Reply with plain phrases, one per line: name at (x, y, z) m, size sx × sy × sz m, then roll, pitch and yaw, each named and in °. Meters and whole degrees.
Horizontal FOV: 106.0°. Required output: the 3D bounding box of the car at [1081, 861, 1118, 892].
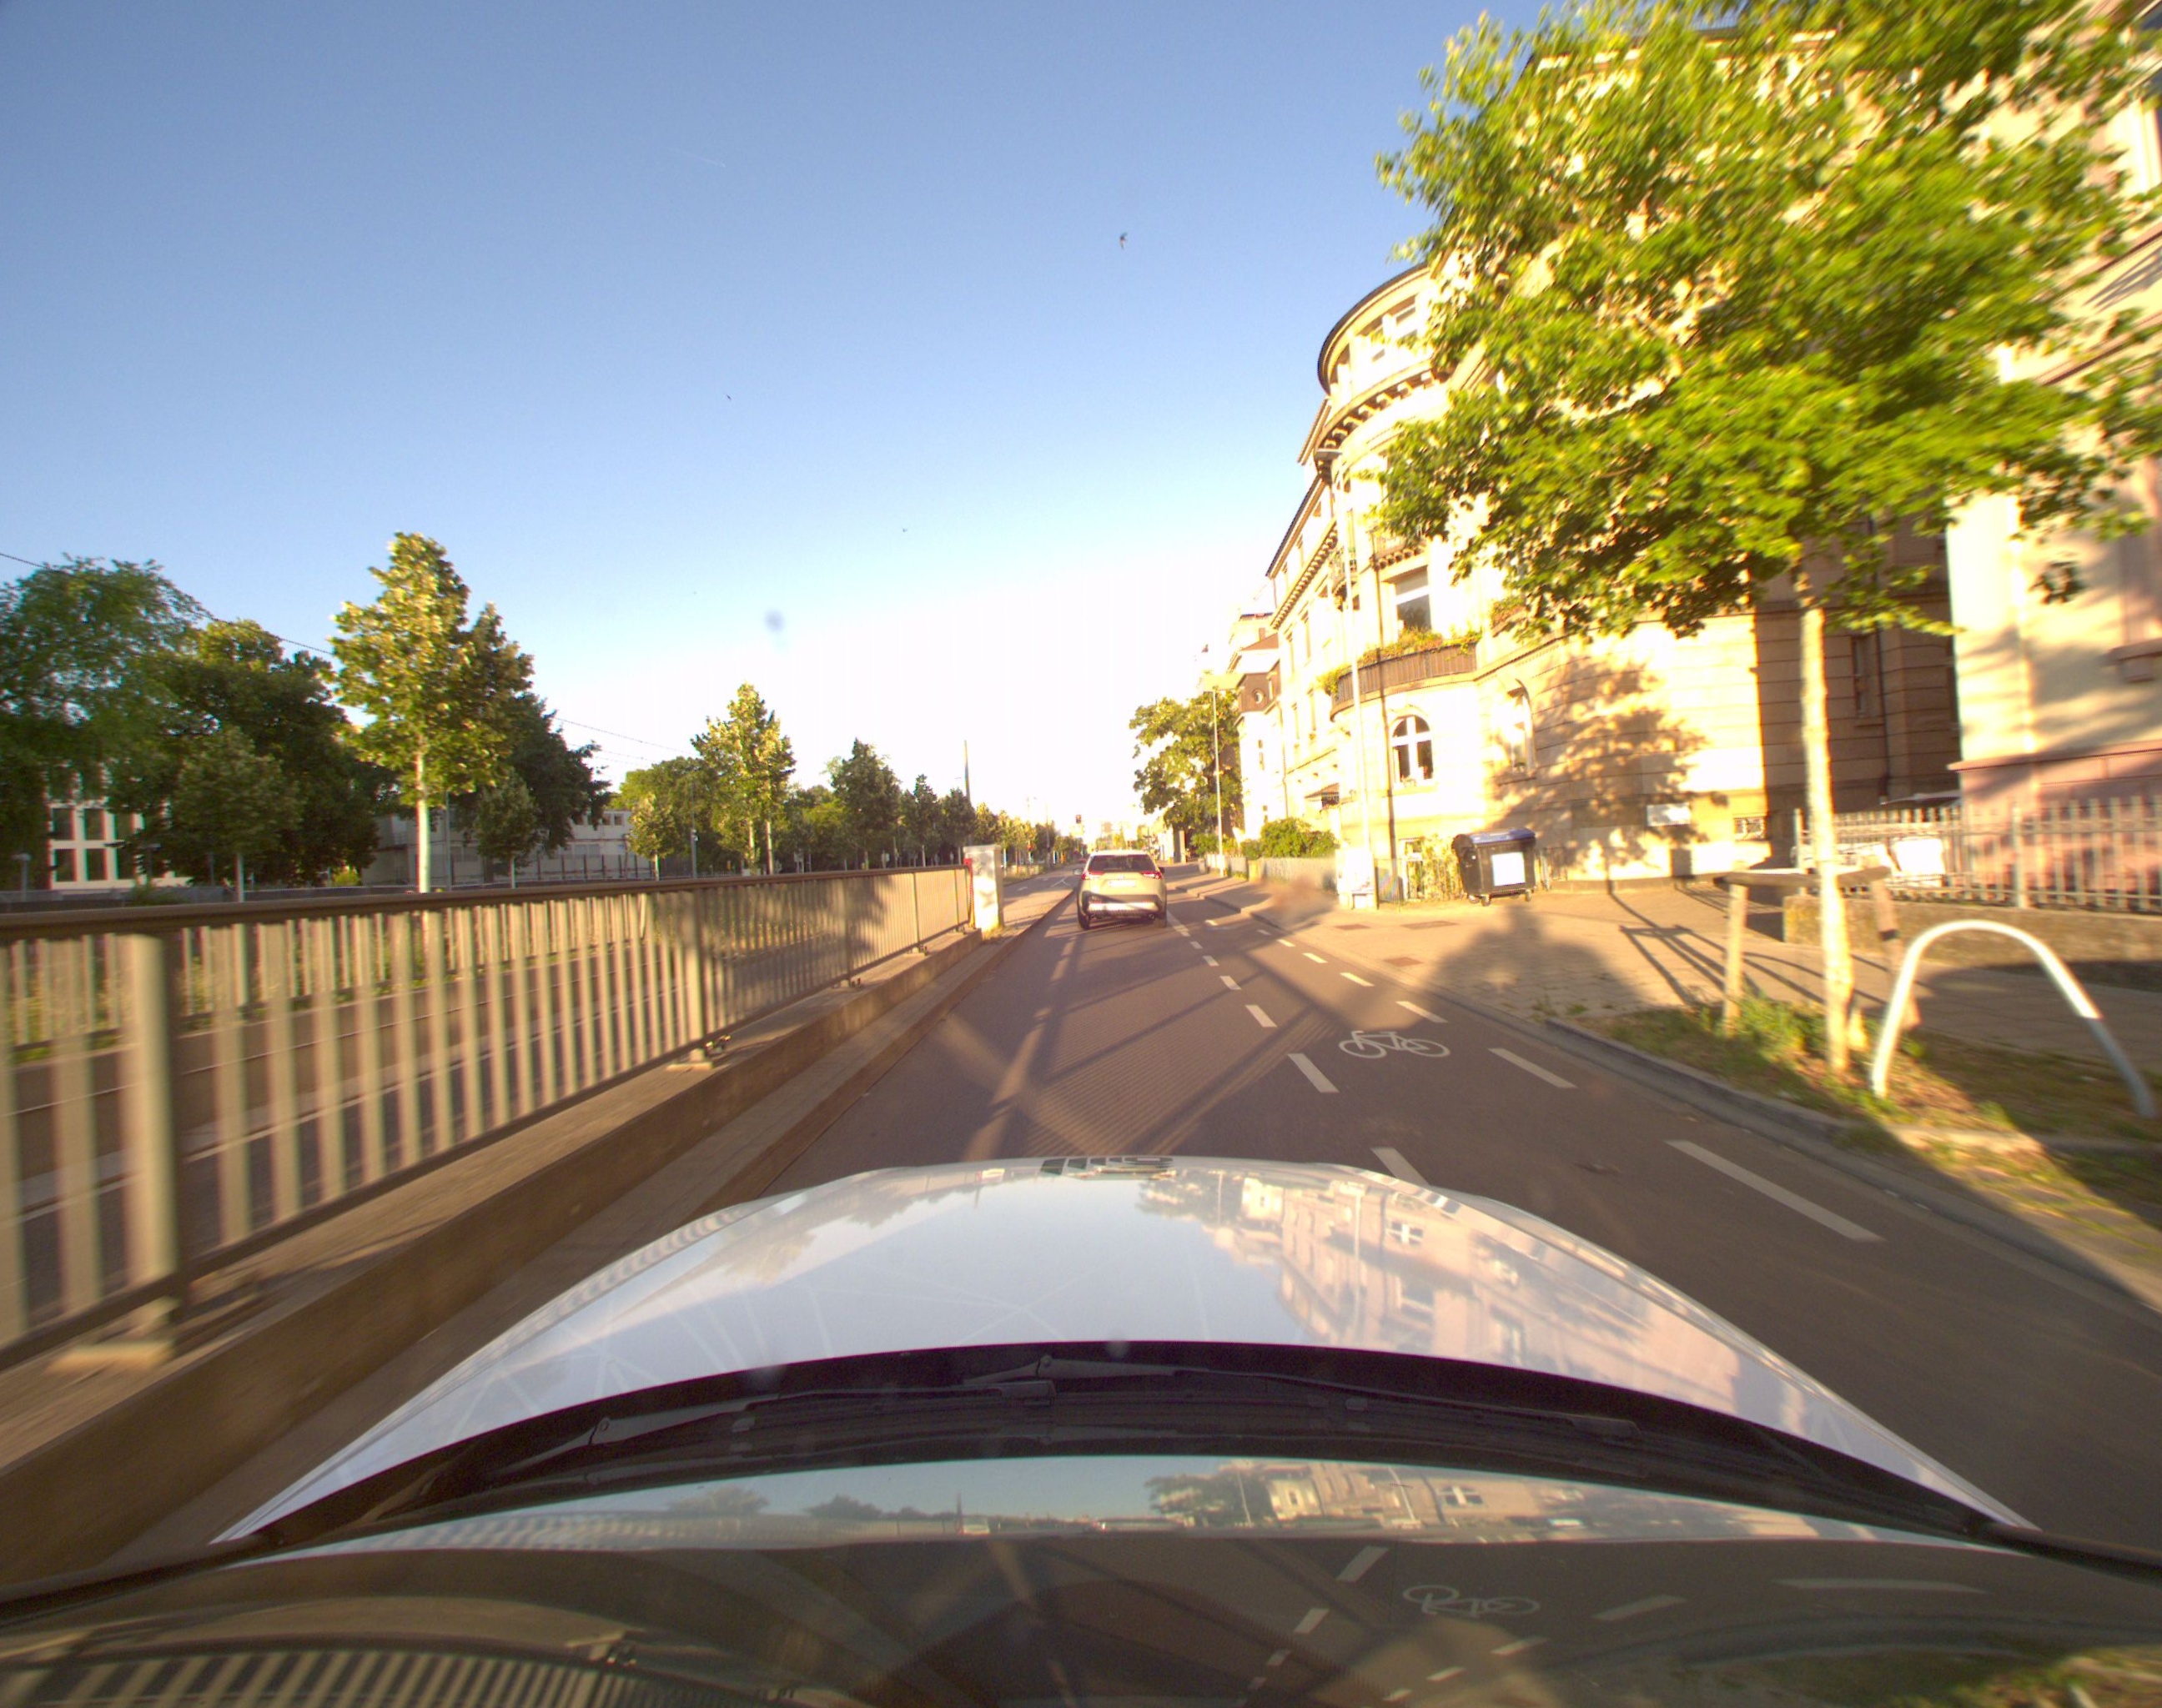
car at (0.969, 1.167, 44.260) m, size 1.851 × 1.551 × 4.109 m, roll -2°, pitch 0°, yaw 0°

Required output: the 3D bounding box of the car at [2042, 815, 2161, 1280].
car at (4.306, 0.540, 0.614) m, size 1.787 × 1.471 × 4.444 m, roll -6°, pitch 0°, yaw -1°

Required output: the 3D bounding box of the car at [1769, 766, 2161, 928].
car at (11.359, -0.132, 9.903) m, size 4.176 × 1.571 × 1.919 m, roll -5°, pitch 0°, yaw 4°

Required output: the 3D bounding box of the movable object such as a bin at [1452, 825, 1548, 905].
movable object such as a bin at (8.255, 0.214, 16.117) m, size 1.256 × 1.462 × 1.123 m, roll -3°, pitch 0°, yaw -1°

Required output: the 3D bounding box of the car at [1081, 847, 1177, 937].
car at (0.964, 0.749, 18.056) m, size 1.851 × 1.714 × 4.192 m, roll -2°, pitch 0°, yaw 0°
